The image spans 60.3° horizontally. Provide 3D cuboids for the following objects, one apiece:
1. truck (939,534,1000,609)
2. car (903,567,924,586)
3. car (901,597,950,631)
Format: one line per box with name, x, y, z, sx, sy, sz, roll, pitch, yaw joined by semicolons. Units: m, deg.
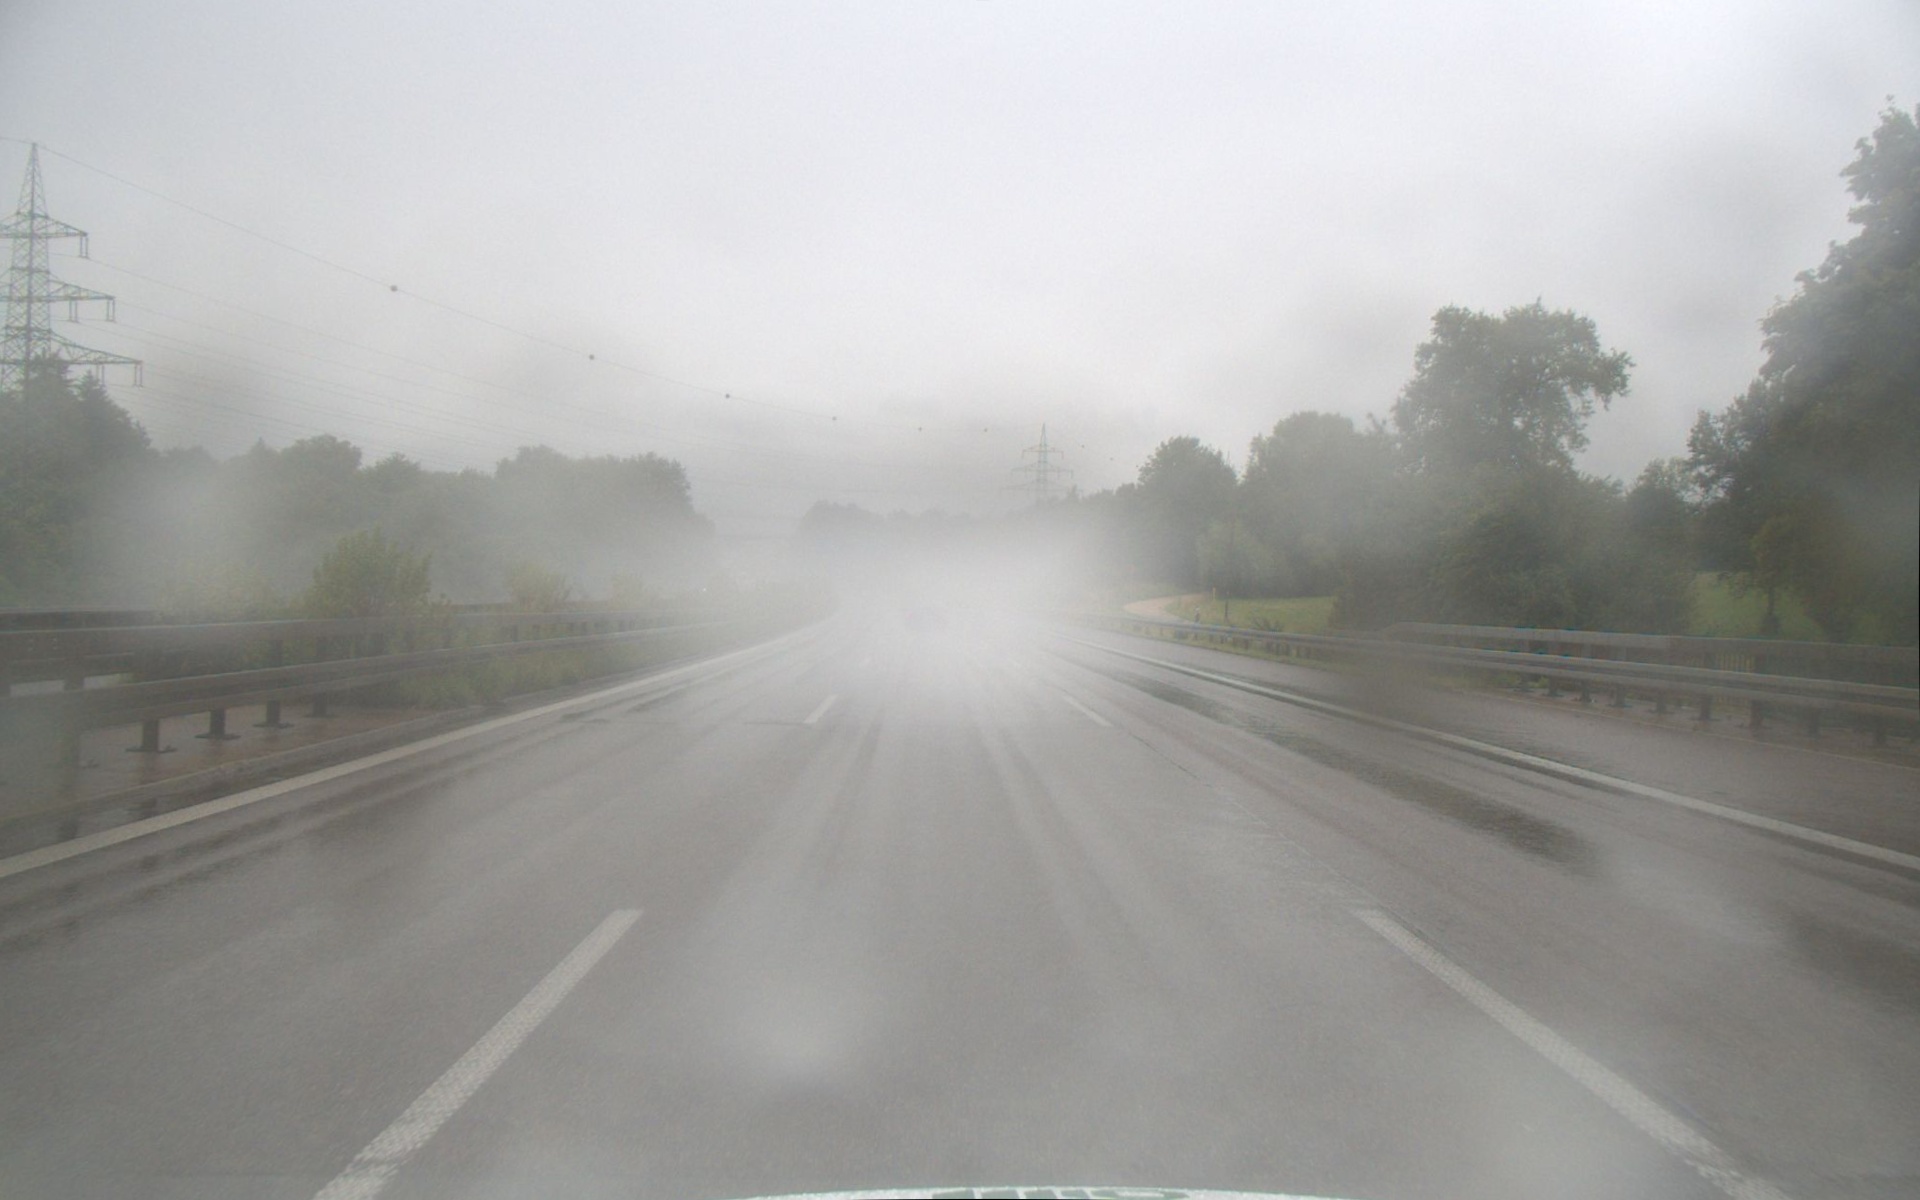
truck;0.807;-2.066;121.072;4.168;5.059;17.344;0;1;1
car;-5.874;-2.999;208.977;2.346;2.312;4.998;3;1;-4
car;-1.389;0.572;68.037;1.712;1.233;4.001;4;0;2
